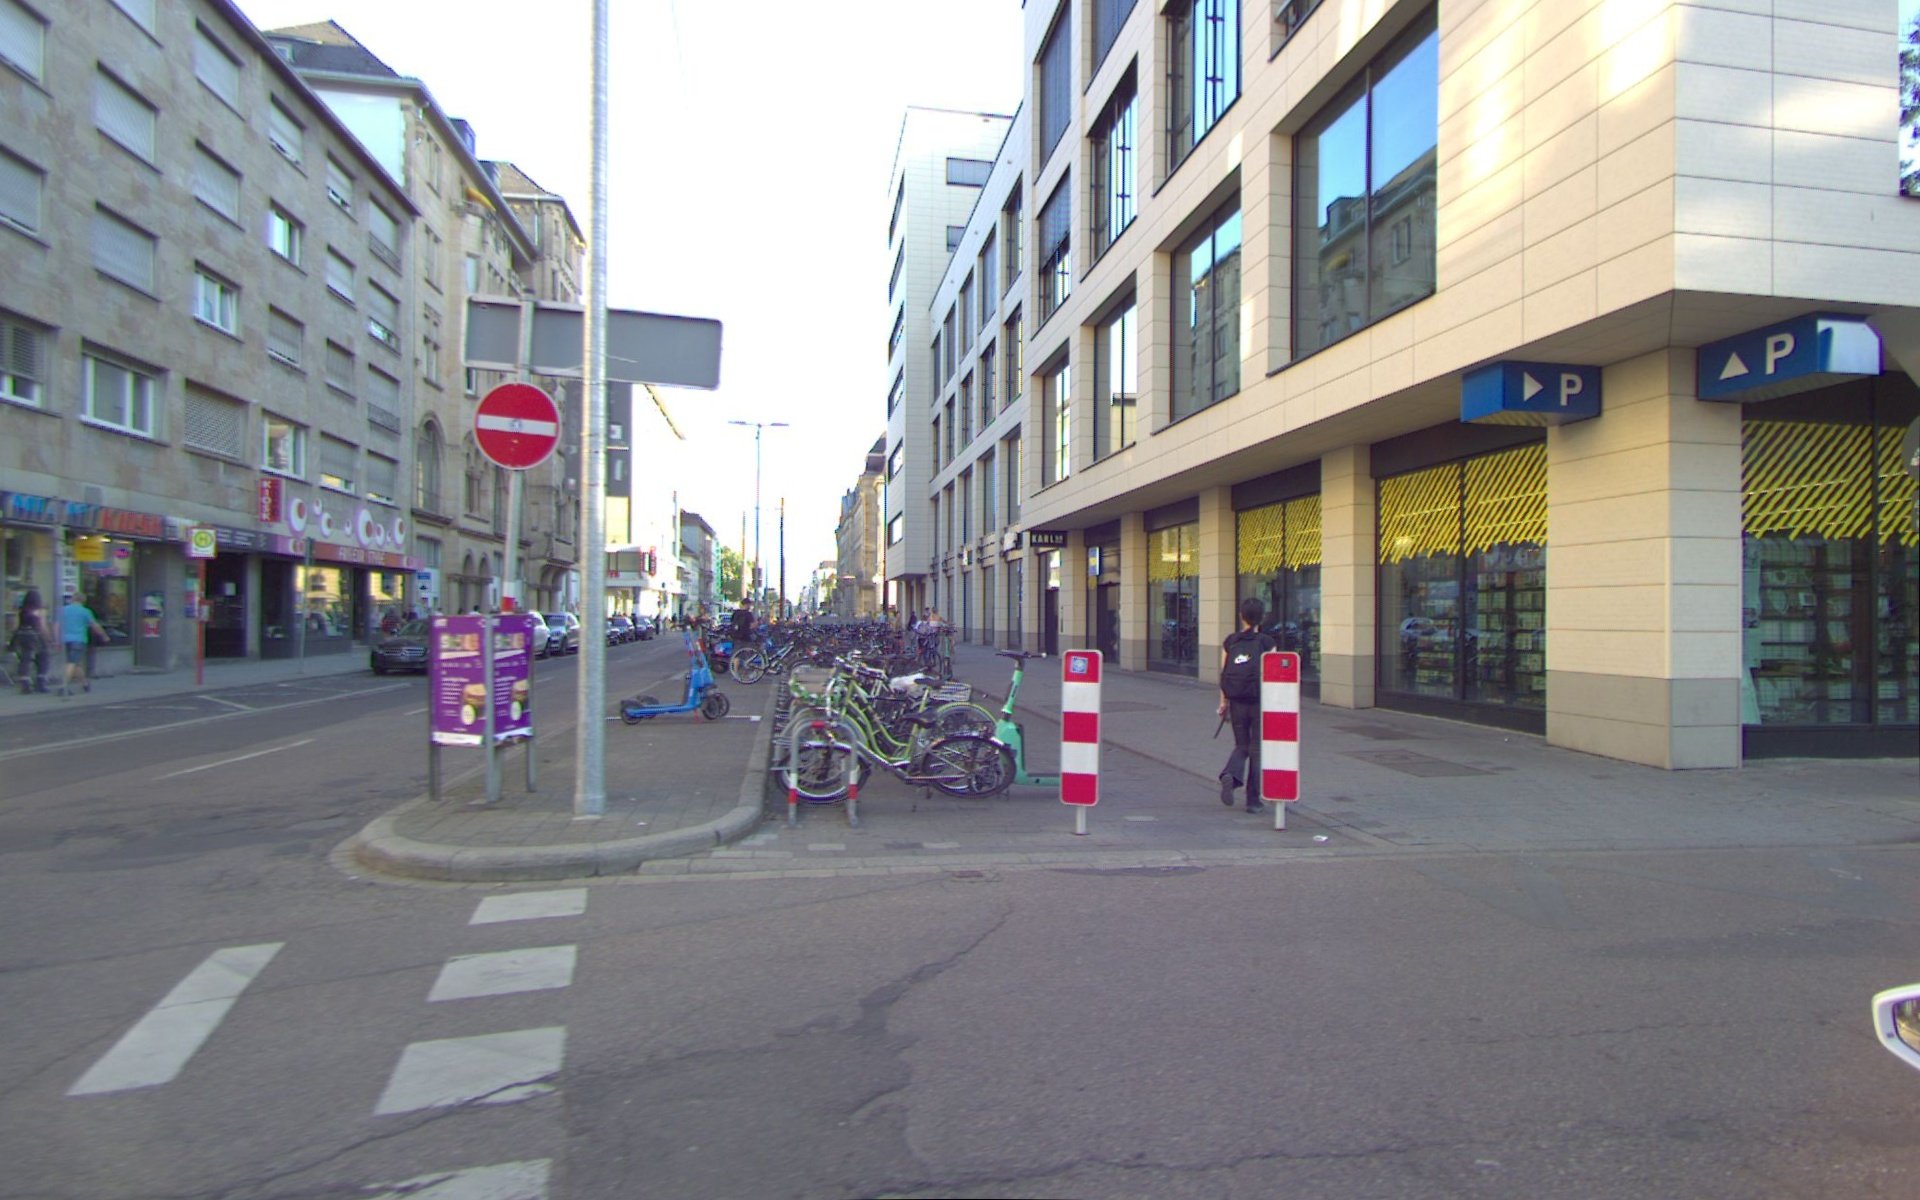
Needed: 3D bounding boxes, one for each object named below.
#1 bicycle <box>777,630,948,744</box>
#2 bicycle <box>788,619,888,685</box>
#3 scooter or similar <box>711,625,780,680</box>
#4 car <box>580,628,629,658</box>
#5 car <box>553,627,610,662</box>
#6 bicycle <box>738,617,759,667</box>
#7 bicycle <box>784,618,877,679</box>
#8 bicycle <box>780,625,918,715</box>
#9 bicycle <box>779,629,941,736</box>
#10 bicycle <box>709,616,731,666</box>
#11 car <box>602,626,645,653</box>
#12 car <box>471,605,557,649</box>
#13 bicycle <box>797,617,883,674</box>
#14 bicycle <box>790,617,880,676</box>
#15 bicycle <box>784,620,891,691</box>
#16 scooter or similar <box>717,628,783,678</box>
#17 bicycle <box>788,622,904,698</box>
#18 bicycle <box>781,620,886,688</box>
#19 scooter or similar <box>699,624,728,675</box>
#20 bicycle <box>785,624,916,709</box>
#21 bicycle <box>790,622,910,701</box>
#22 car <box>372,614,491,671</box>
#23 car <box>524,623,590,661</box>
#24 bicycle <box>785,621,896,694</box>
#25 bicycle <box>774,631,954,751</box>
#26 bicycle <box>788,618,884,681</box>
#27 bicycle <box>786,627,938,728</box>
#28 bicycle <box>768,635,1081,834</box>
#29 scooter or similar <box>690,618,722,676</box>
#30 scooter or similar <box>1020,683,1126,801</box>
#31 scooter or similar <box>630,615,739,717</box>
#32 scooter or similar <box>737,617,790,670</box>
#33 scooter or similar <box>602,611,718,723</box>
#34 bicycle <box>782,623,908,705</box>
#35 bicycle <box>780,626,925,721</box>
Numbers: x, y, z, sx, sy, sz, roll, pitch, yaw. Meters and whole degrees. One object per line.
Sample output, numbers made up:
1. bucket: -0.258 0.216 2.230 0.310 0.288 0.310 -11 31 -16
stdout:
1. bicycle: -1.150 1.010 11.787 1.944 1.271 0.512 1 0 -11
2. bicycle: -2.447 1.038 20.149 1.944 1.271 0.512 1 0 -11
3. scooter or similar: -4.071 1.002 19.125 1.248 1.005 0.387 1 0 -11
4. car: -17.891 2.129 50.742 1.831 1.409 3.991 0 -1 -12
5. car: -16.926 1.962 45.080 1.831 1.409 3.991 0 -1 -12
6. bicycle: -5.706 1.109 27.141 0.504 1.271 1.974 1 0 -12
7. bicycle: -2.806 1.041 21.683 1.944 1.271 0.512 1 0 -11
8. bicycle: -1.630 1.019 14.694 1.944 1.271 0.512 1 0 -11
9. bicycle: -1.248 1.012 12.497 1.944 1.271 0.512 1 0 -11
10. bicycle: -6.424 1.080 26.963 0.504 1.271 1.974 1 0 -12
11. car: -18.729 2.158 56.077 1.831 1.409 3.991 0 -1 -12
12. car: -15.332 0.899 34.782 1.831 1.409 4.612 0 -1 -12
13. bicycle: -2.781 1.052 23.285 1.944 1.271 0.512 1 0 -11
14. bicycle: -2.785 1.046 22.426 1.944 1.271 0.512 1 0 -11
15. bicycle: -2.286 1.032 18.720 1.944 1.271 0.512 1 0 -11
16. scooter or similar: -4.139 1.038 19.801 1.248 0.954 0.387 1 0 -11
17. bicycle: -1.976 1.030 17.413 1.944 1.271 0.512 1 0 -11
18. bicycle: -2.437 1.033 19.333 1.944 1.271 0.512 1 0 -11
19. scooter or similar: -6.063 1.202 24.768 0.506 1.196 1.269 1 0 -7
20. bicycle: -1.695 1.023 15.478 1.944 1.271 0.512 1 0 -11
21. bicycle: -1.835 1.028 16.746 1.944 1.271 0.512 1 0 -11
22. car: -14.142 1.095 27.103 1.831 1.409 3.991 0 -1 -12
23. car: -16.215 1.670 40.619 1.831 1.409 3.991 0 -1 -12
24. bicycle: -2.161 1.031 18.133 1.944 1.271 0.512 1 0 -11
25. bicycle: -1.081 1.007 11.219 1.944 1.271 0.512 1 0 -11
26. bicycle: -2.587 1.041 20.965 1.944 1.271 0.512 1 0 -11
27. bicycle: -1.302 1.016 13.264 1.944 1.271 0.512 1 0 -11
28. bicycle: -0.263 0.904 7.083 2.104 1.271 0.664 1 0 -14
29. scooter or similar: -5.756 1.054 22.773 0.506 1.259 1.269 1 0 -7
30. scooter or similar: 0.912 1.142 8.161 0.756 0.896 0.387 1 0 -11
31. scooter or similar: -3.386 0.810 12.391 1.248 1.228 0.387 1 0 -11
32. scooter or similar: -4.811 1.066 24.582 1.248 1.259 0.387 1 0 -11
33. scooter or similar: -3.500 0.780 11.771 1.248 1.277 0.387 1 0 -11
34. bicycle: -1.842 1.024 16.067 1.944 1.271 0.512 1 0 -11
35. bicycle: -1.509 1.017 14.075 1.945 1.271 0.512 1 0 -13
